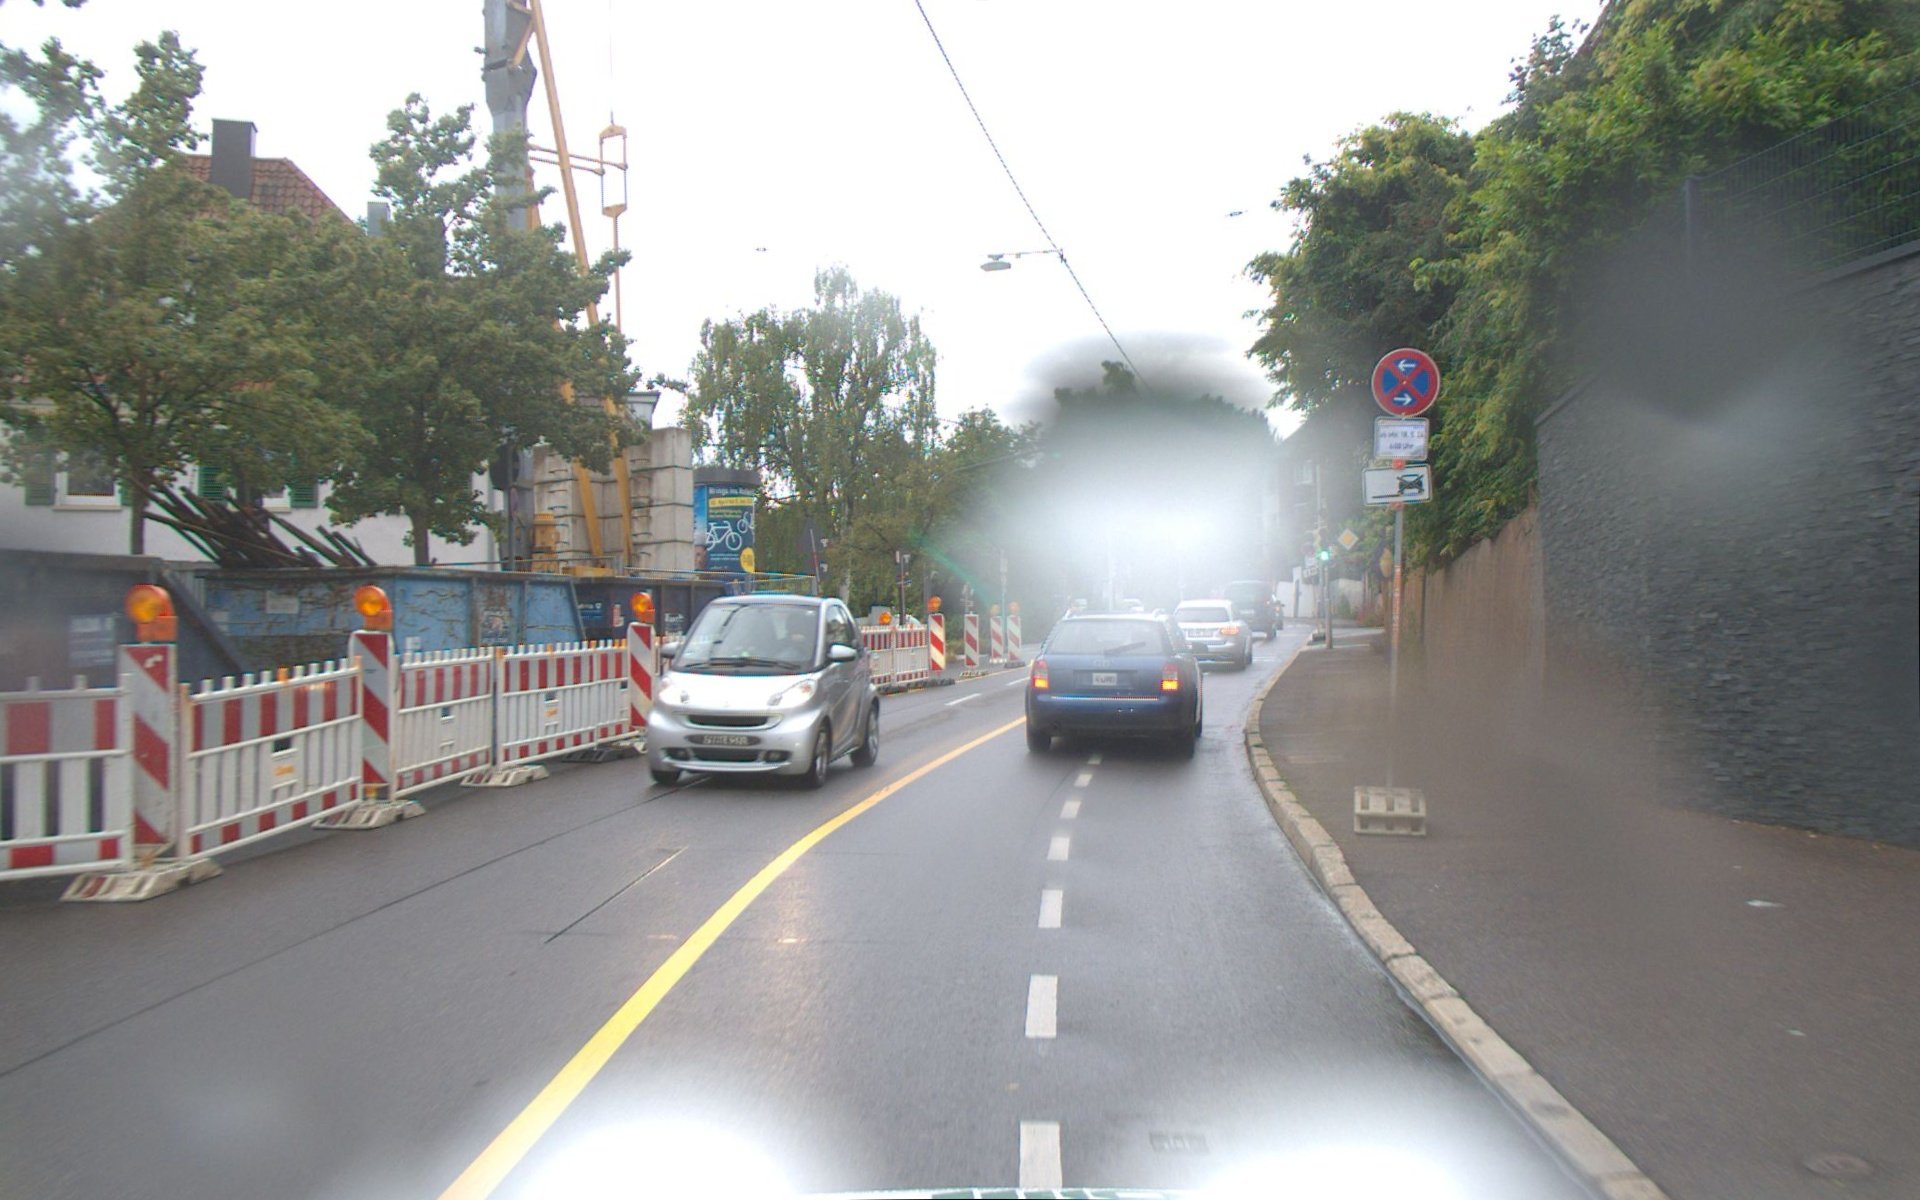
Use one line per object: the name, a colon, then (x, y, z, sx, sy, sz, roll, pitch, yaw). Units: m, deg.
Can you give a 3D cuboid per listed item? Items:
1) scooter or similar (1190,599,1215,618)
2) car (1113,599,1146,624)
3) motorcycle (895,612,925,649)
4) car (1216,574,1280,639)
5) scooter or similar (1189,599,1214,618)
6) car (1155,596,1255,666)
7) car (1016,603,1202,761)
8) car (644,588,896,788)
scooter or similar: (18.769, 0.670, 127.939, 1.796, 1.338, 0.600, 3, -3, 1)
car: (10.528, 0.686, 102.859, 1.639, 1.451, 4.000, -3, 0, 1)
motorcycle: (-1.644, 1.001, 54.634, 0.578, 1.150, 1.845, -3, 0, 11)
car: (9.254, 0.183, 53.021, 1.693, 1.927, 4.059, -3, 0, 13)
scooter or similar: (18.581, 0.619, 127.175, 1.796, 1.338, 0.600, 3, -3, 1)
car: (5.446, 0.680, 36.322, 1.868, 1.413, 4.354, 1, -1, 12)
car: (1.703, 0.794, 17.769, 1.739, 1.464, 4.003, 1, 0, 9)
car: (-1.568, 0.703, 14.541, 1.424, 1.553, 2.925, 1, 0, 9)
